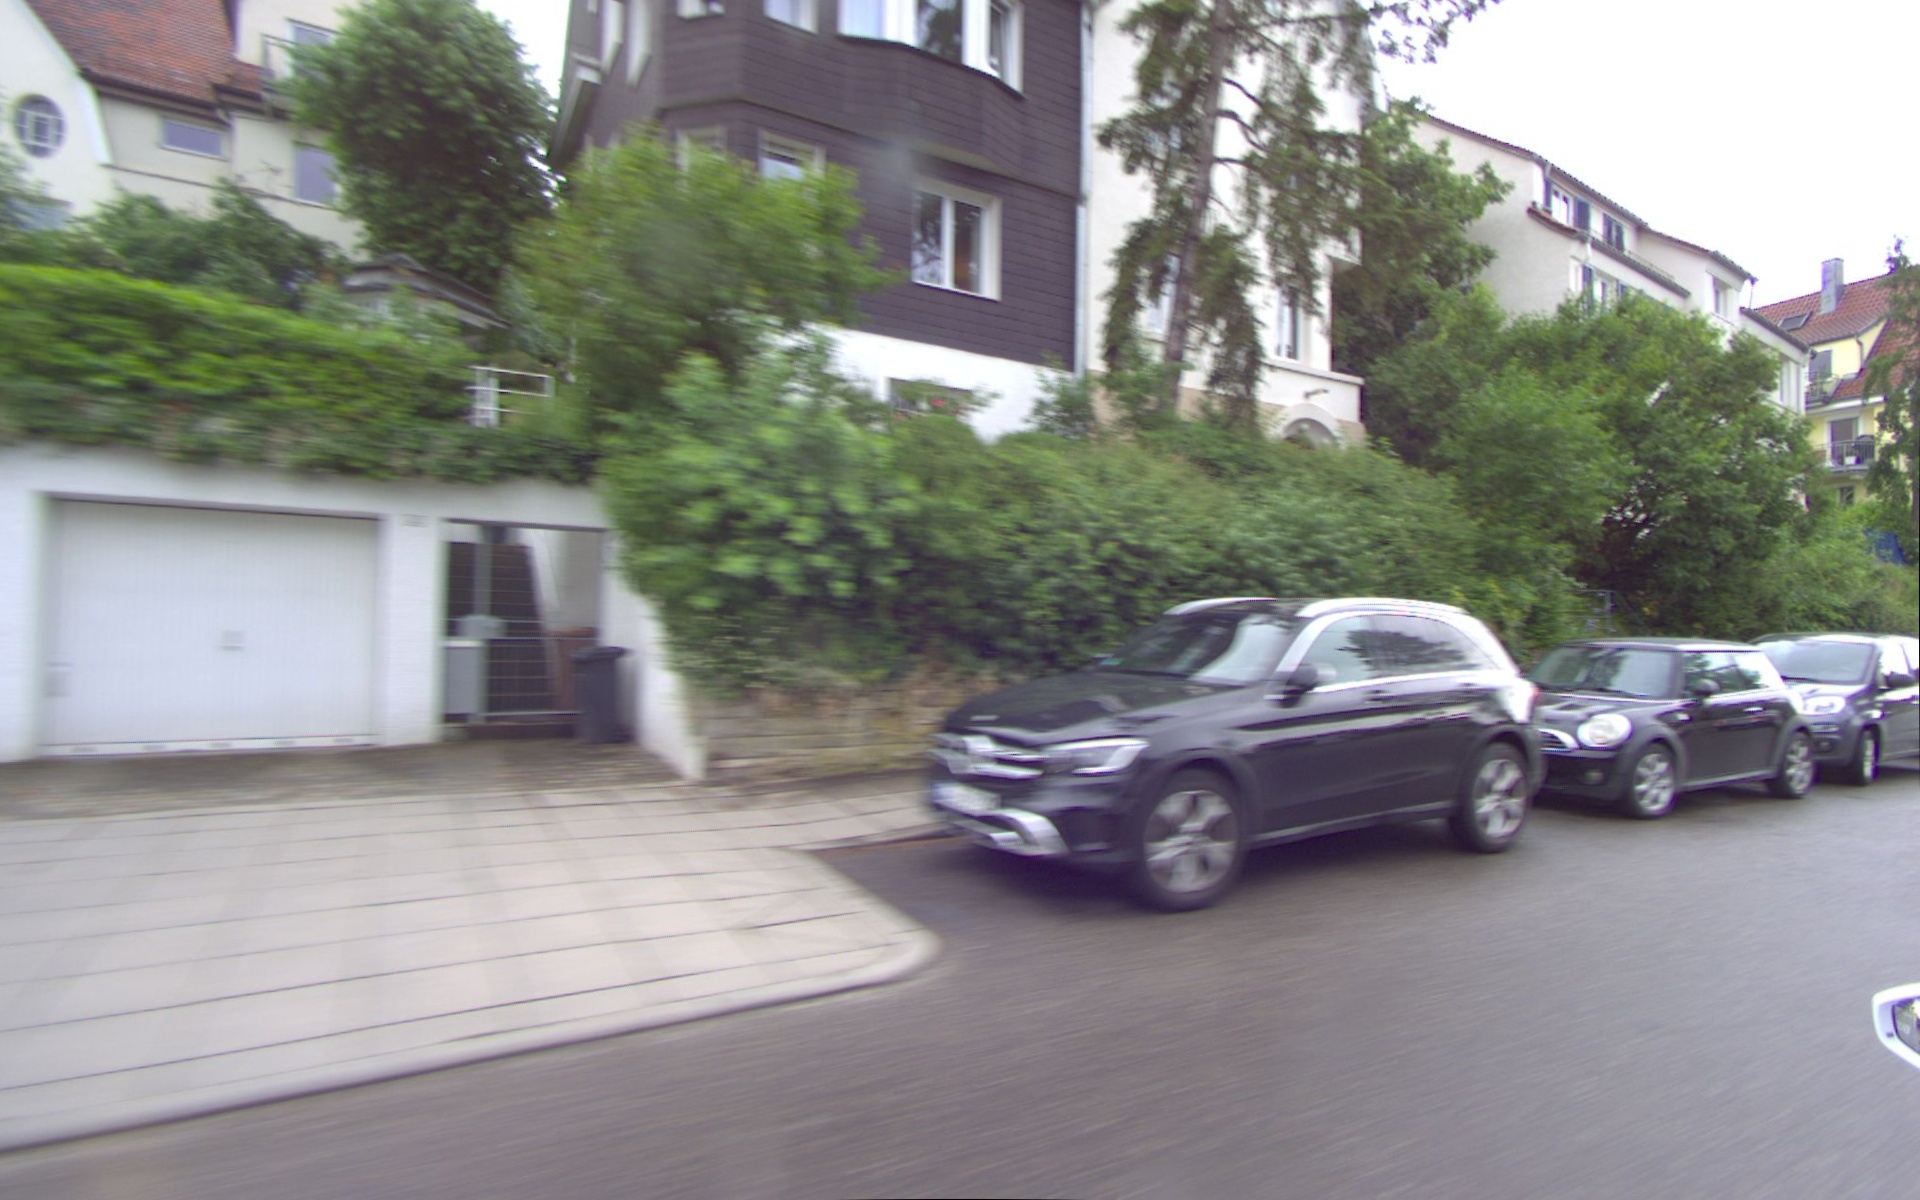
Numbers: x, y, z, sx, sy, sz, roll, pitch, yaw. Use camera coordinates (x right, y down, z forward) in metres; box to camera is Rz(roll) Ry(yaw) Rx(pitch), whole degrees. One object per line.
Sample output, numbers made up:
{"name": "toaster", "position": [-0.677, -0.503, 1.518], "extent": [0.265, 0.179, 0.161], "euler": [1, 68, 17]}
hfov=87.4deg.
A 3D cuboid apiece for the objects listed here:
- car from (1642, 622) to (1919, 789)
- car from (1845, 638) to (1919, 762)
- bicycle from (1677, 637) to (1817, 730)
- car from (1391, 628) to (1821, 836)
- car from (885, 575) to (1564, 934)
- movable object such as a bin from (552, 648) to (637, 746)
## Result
{"name": "car", "position": [9.562, 1.078, 11.300], "extent": [3.769, 1.561, 1.688], "euler": [2, -1, -31]}
{"name": "car", "position": [13.886, 1.277, 13.497], "extent": [4.364, 1.466, 1.747], "euler": [0, 0, -31]}
{"name": "bicycle", "position": [12.563, 1.293, 16.026], "extent": [2.263, 1.318, 0.999], "euler": [0, 0, -30]}
{"name": "car", "position": [6.010, 1.036, 9.299], "extent": [3.769, 1.466, 1.884], "euler": [0, 0, -31]}
{"name": "car", "position": [1.867, 0.766, 6.589], "extent": [4.331, 1.644, 1.882], "euler": [2, -1, -33]}
{"name": "movable object such as a bin", "position": [-3.560, 0.931, 9.811], "extent": [0.609, 0.901, 0.488], "euler": [0, 0, 16]}
